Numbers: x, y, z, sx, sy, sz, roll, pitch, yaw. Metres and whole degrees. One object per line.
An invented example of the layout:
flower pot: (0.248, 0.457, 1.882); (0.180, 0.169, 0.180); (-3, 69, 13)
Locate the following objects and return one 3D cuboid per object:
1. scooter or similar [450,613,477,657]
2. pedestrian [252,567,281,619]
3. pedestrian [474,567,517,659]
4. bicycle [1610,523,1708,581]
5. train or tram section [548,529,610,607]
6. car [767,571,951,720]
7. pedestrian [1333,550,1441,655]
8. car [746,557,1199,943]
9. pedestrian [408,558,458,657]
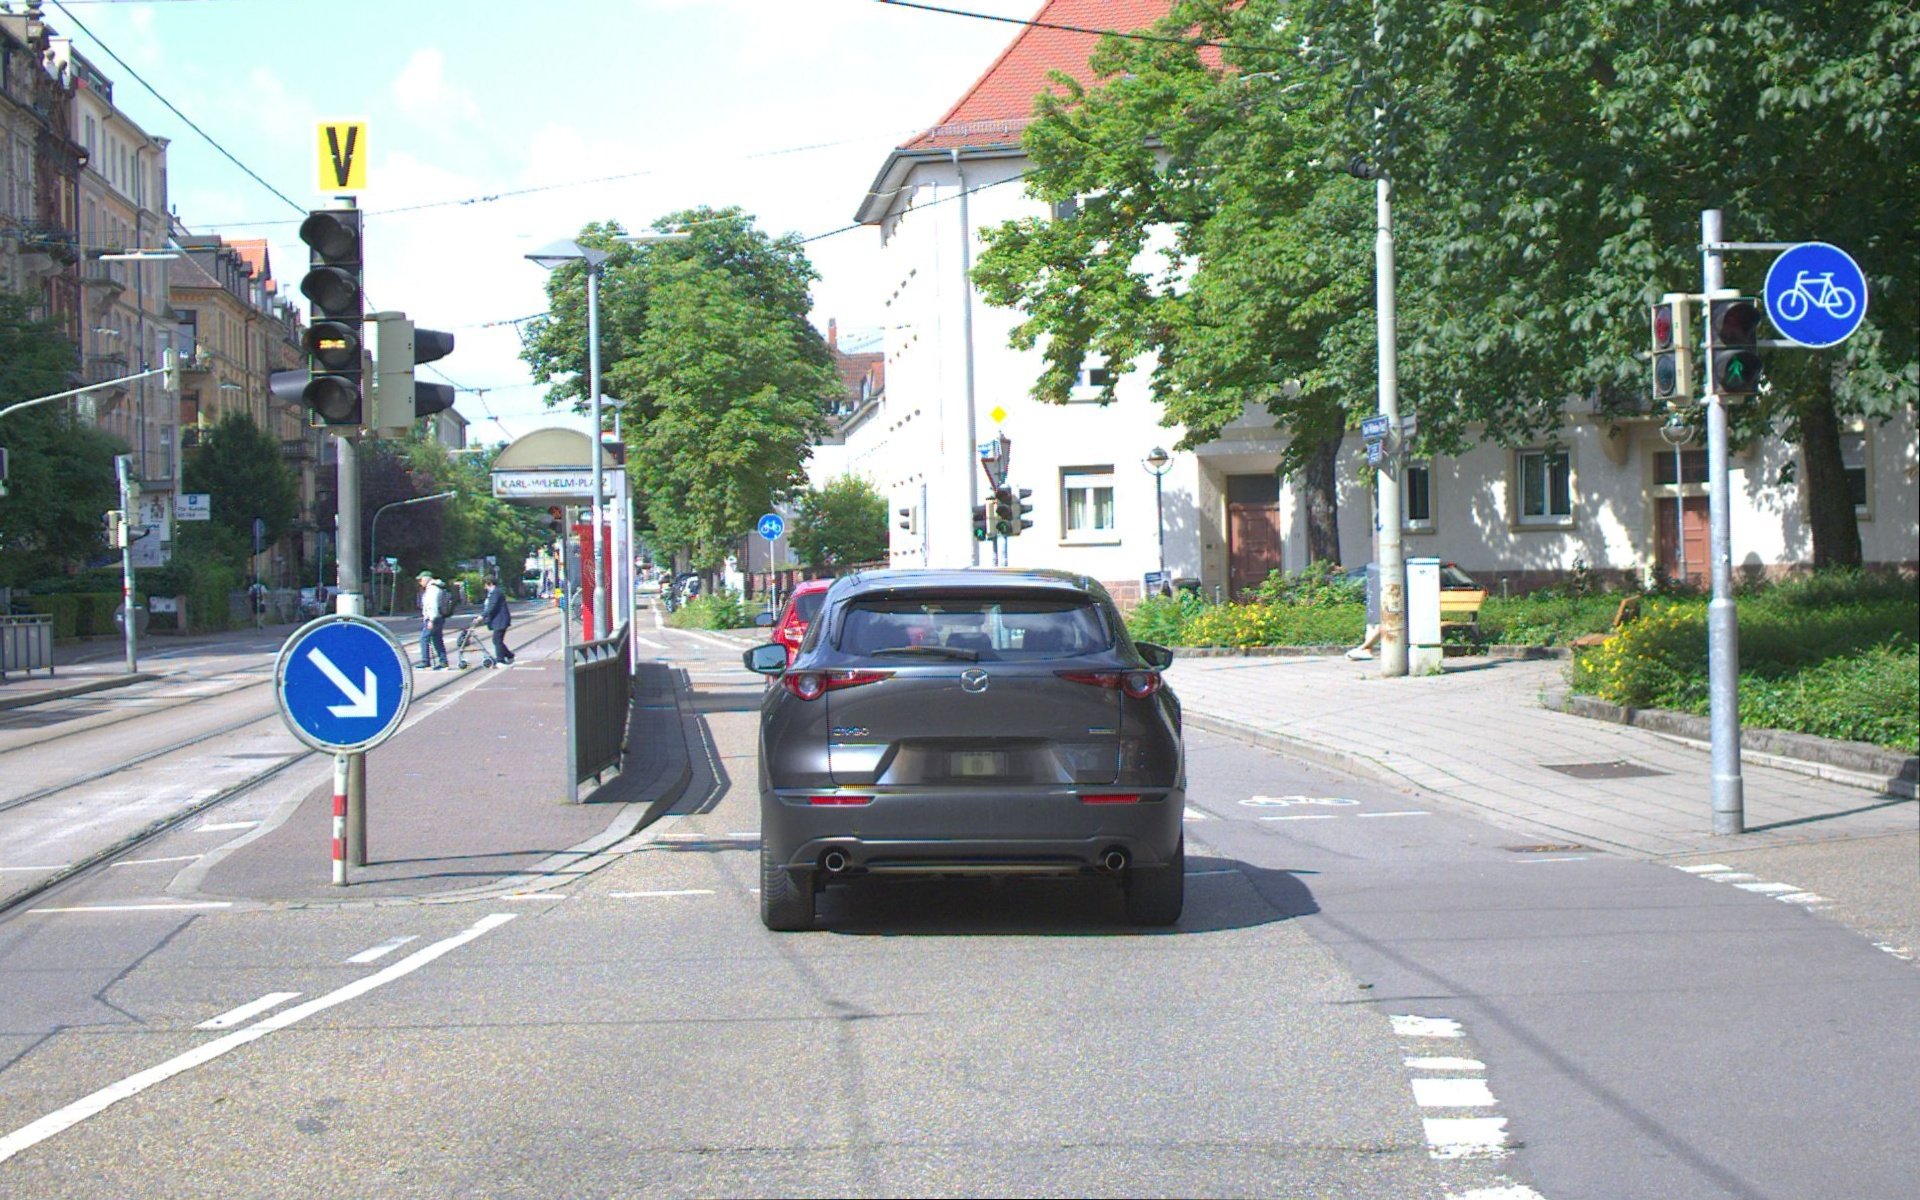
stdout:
scooter or similar: (-8.371, 0.592, 57.918); (0.414, 0.718, 0.486); (-1, 1, -5)
pedestrian: (-22.951, -0.233, 113.792); (0.787, 1.682, 0.732); (-1, 0, -3)
pedestrian: (-7.831, 0.214, 57.929); (0.667, 1.540, 0.581); (-1, 0, -5)
bicycle: (12.951, -0.892, 63.744); (0.565, 1.016, 1.752); (-4, 2, -42)
train or tram section: (-20.789, -1.692, 188.383); (2.997, 3.970, 13.811); (-1, 0, -5)
car: (-1.103, 0.435, 35.833); (1.775, 1.459, 3.843); (0, 1, -4)
pedestrian: (5.485, 0.032, 44.189); (1.192, 1.265, 0.558); (-4, 1, -9)
car: (0.023, 0.591, 15.686); (1.782, 1.509, 4.000); (1, 0, -1)
pedestrian: (-8.979, 0.123, 58.576); (0.770, 1.669, 0.668); (-1, 0, -5)
